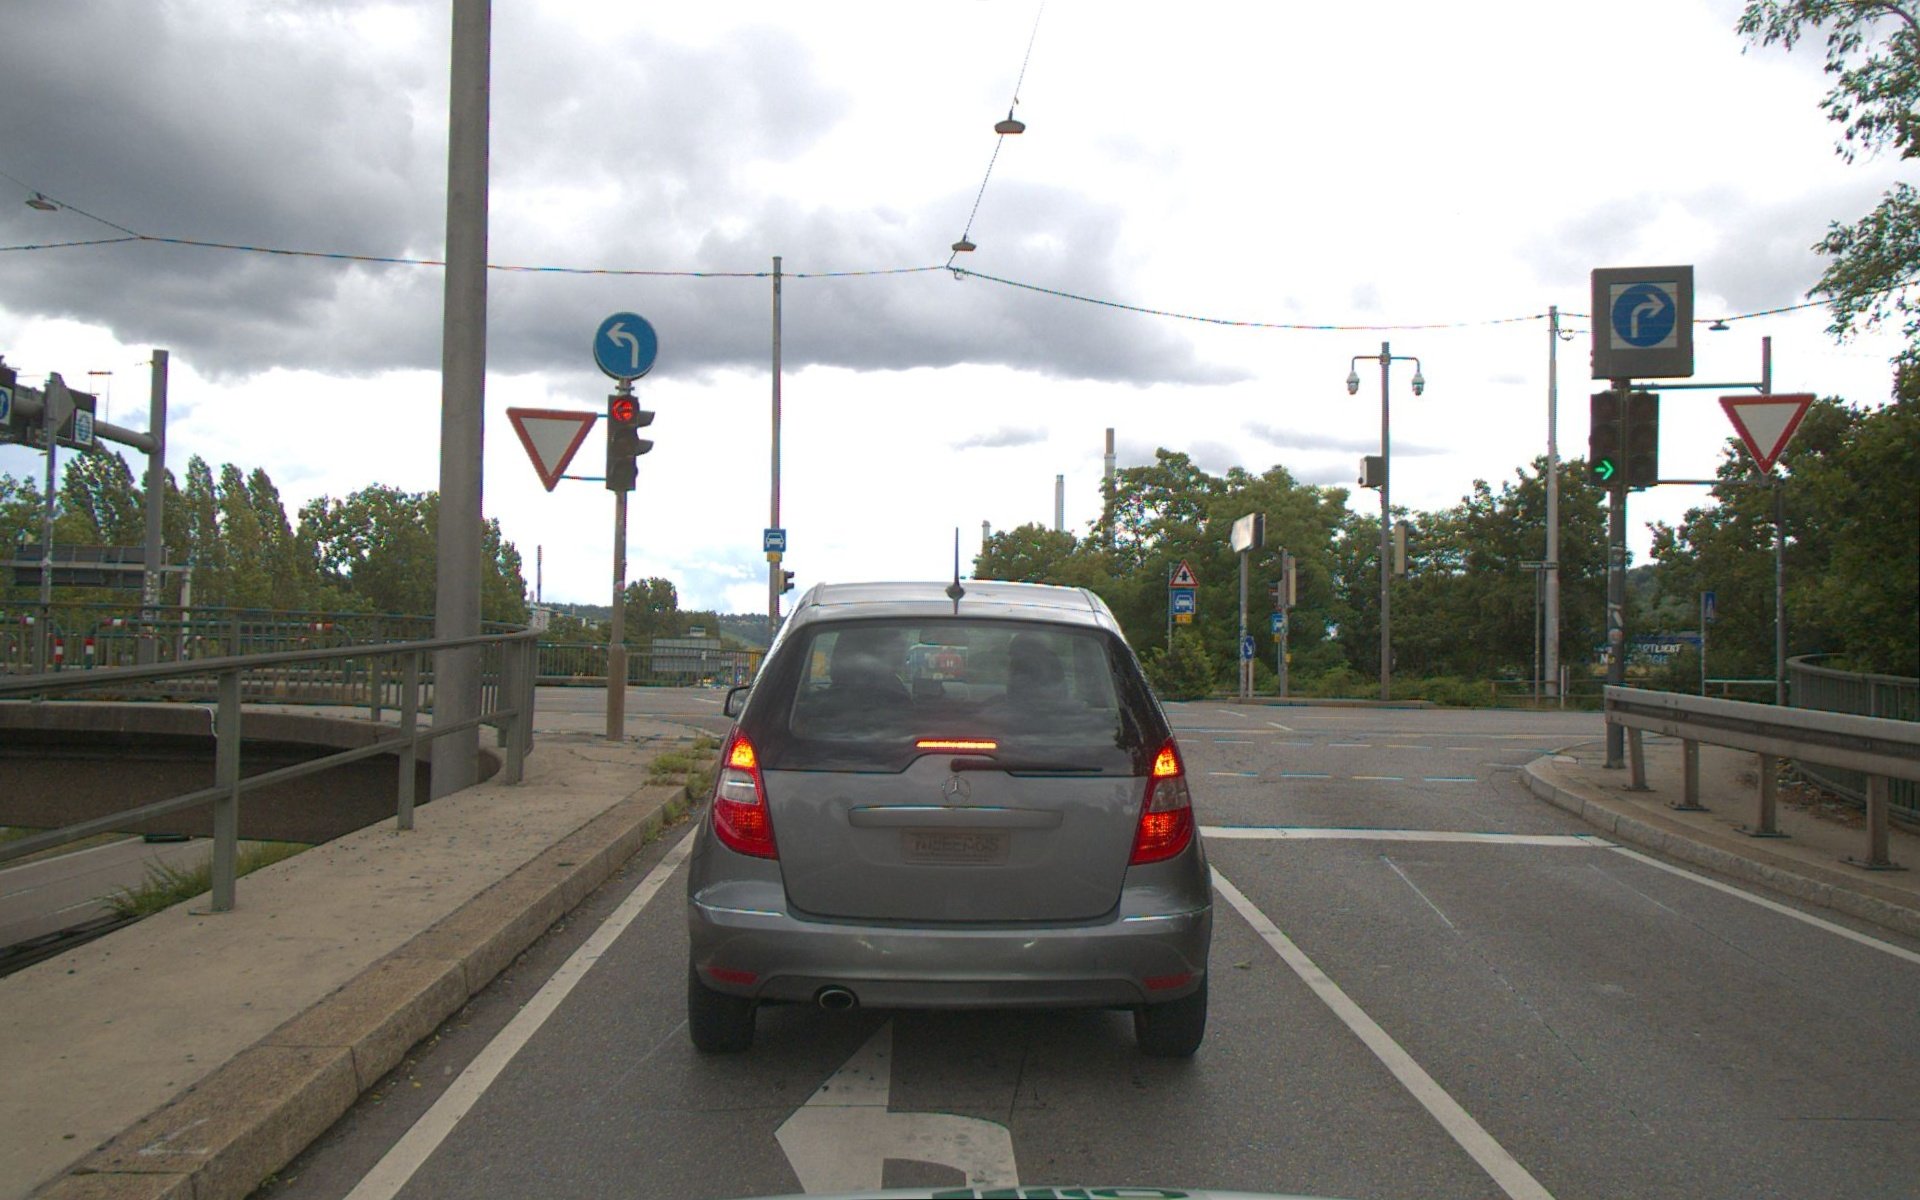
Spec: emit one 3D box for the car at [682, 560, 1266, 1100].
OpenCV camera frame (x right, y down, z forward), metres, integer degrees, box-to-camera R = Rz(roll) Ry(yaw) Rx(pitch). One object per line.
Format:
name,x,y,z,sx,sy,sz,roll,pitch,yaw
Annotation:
car,0.025,0.690,6.664,1.704,1.570,3.540,1,0,-1
